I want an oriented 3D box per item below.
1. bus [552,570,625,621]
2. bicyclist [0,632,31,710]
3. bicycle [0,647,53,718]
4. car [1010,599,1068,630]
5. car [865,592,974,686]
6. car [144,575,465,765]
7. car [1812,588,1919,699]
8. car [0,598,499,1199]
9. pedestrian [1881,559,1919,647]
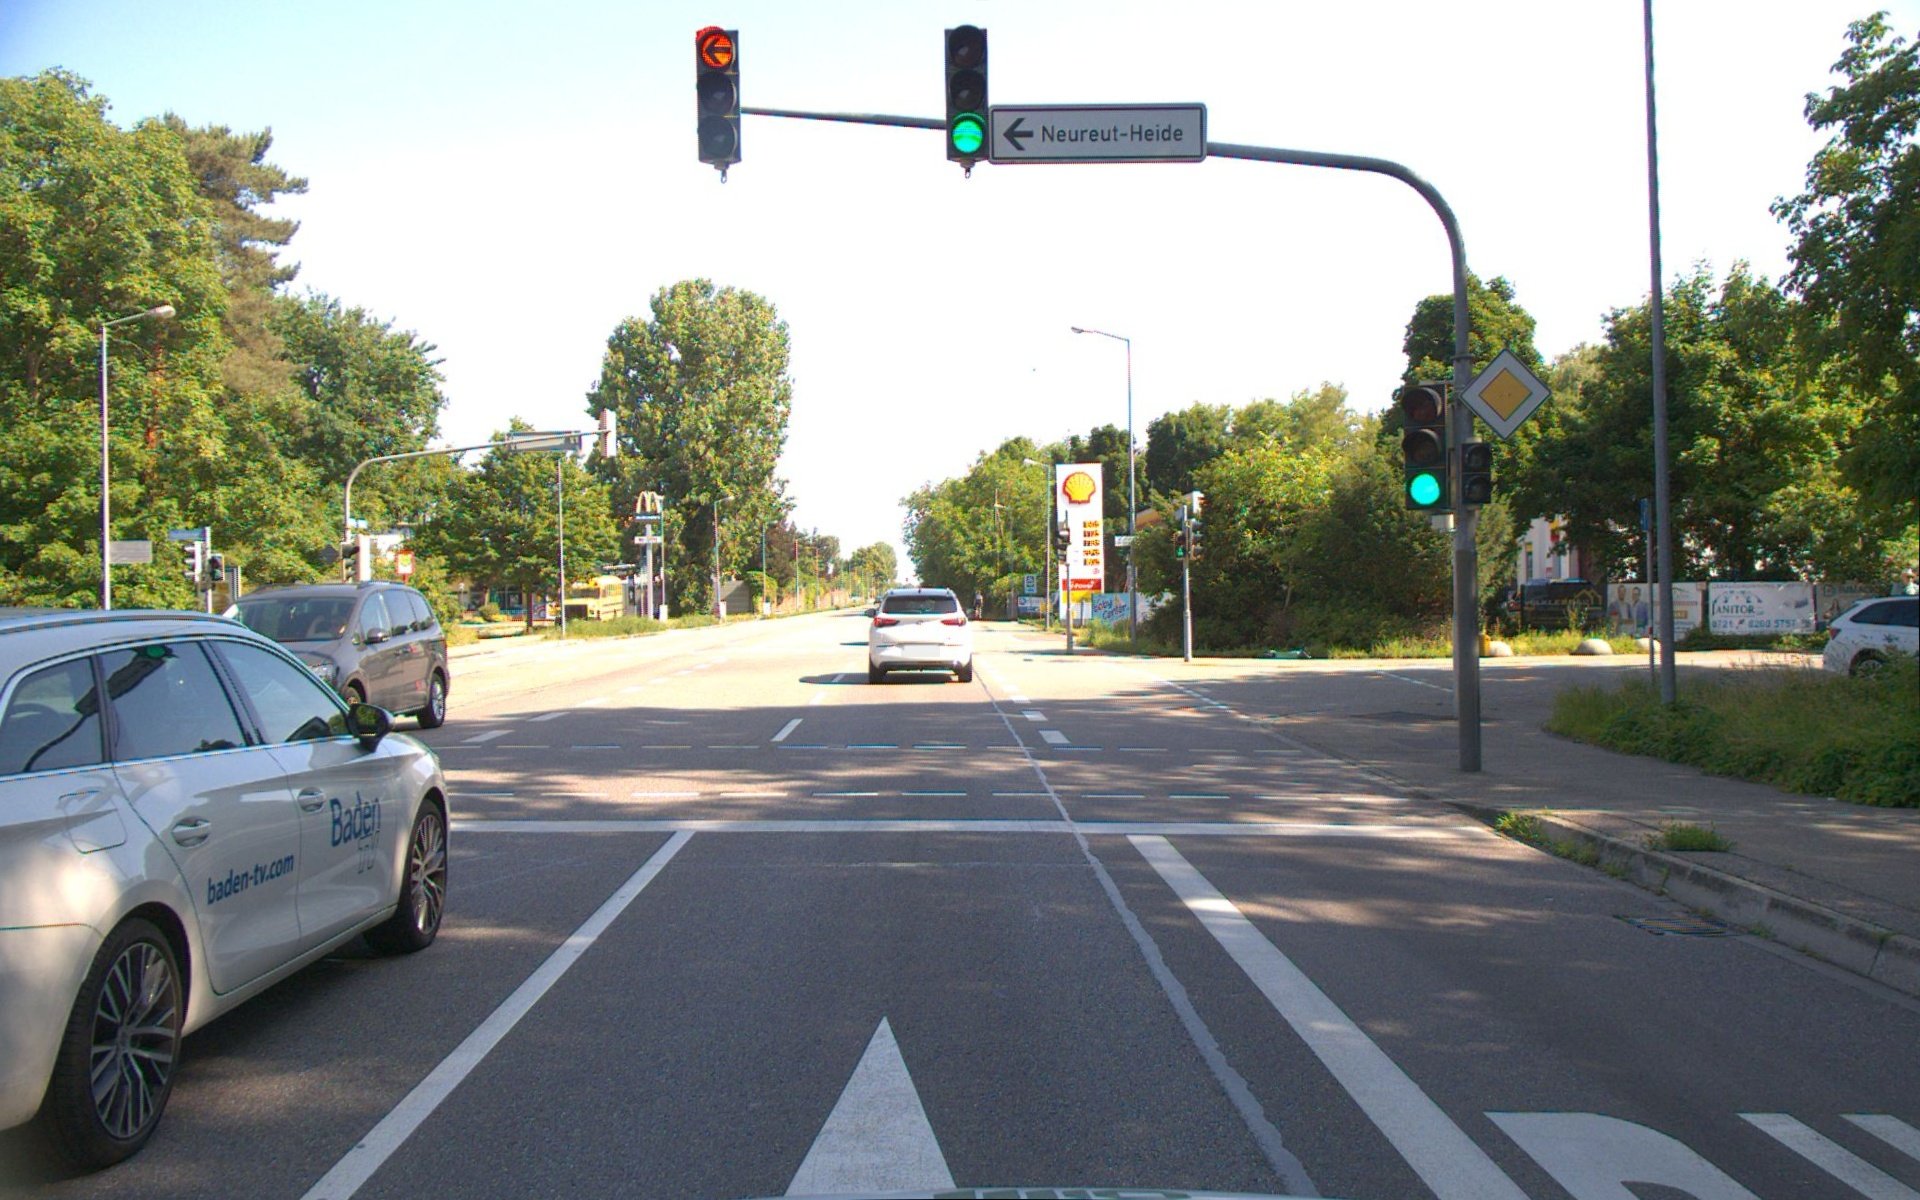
[{"bbox_3d":[-21.028,-0.203,94.058,2.528,2.726,8.990,1,-1,-3],"label":"bus"},{"bbox_3d":[-17.120,1.261,29.405,0.707,1.334,0.883,-1,0,-4],"label":"bicyclist"},{"bbox_3d":[-17.123,1.466,29.446,0.718,1.183,2.371,-1,0,-3],"label":"bicycle"},{"bbox_3d":[4.106,0.753,86.320,2.683,1.557,1.568,-1,-2,43],"label":"car"},{"bbox_3d":[-0.723,0.677,29.882,1.809,1.568,4.223,1,-1,-1],"label":"car"},{"bbox_3d":[-6.888,0.681,17.930,1.755,1.726,4.390,-2,0,-1],"label":"car"},{"bbox_3d":[13.992,0.581,22.262,1.600,1.489,4.586,-1,0,-21],"label":"car"},{"bbox_3d":[-2.958,0.729,5.377,1.748,1.449,4.422,1,0,-1],"label":"car"},{"bbox_3d":[17.990,0.063,31.620,0.595,1.658,0.414,-2,0,25],"label":"pedestrian"}]
